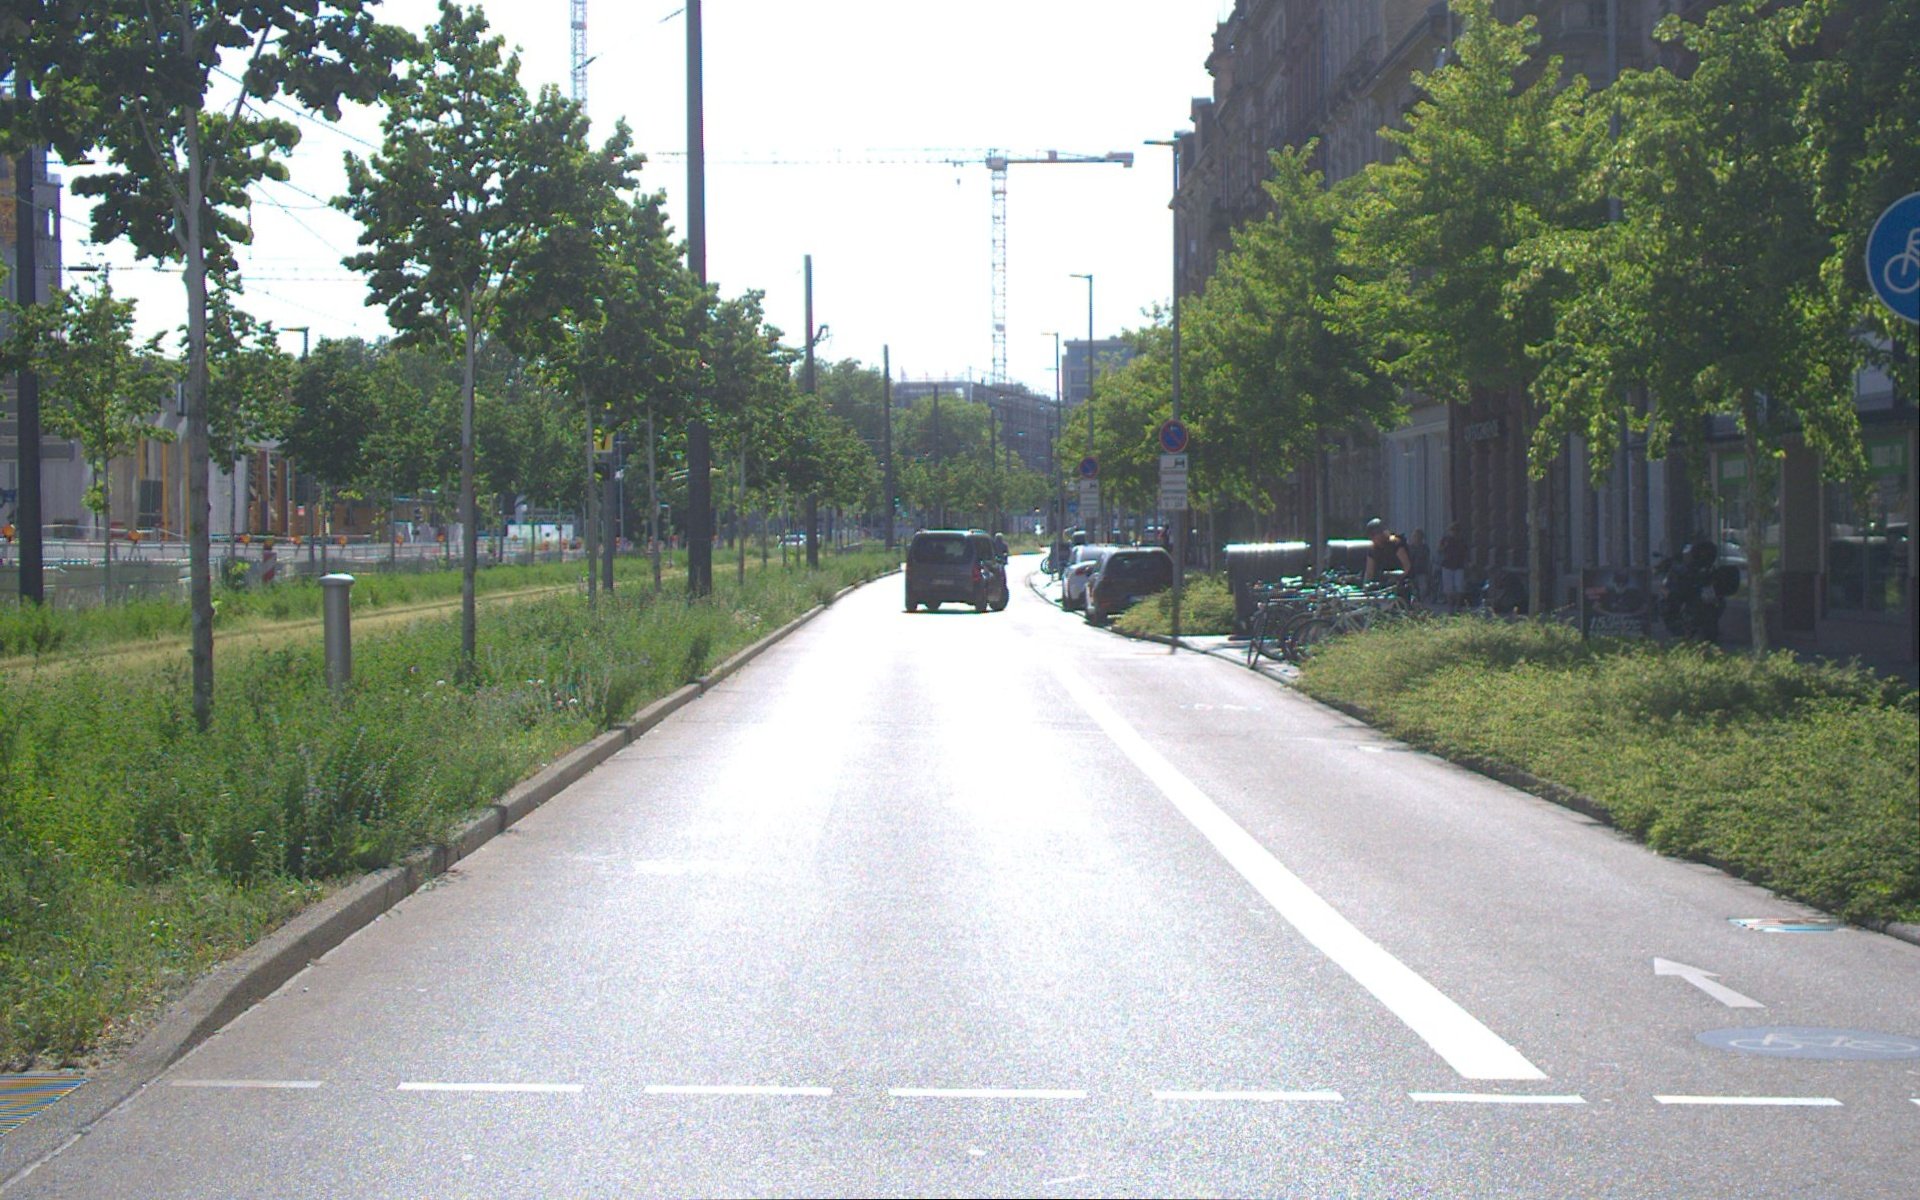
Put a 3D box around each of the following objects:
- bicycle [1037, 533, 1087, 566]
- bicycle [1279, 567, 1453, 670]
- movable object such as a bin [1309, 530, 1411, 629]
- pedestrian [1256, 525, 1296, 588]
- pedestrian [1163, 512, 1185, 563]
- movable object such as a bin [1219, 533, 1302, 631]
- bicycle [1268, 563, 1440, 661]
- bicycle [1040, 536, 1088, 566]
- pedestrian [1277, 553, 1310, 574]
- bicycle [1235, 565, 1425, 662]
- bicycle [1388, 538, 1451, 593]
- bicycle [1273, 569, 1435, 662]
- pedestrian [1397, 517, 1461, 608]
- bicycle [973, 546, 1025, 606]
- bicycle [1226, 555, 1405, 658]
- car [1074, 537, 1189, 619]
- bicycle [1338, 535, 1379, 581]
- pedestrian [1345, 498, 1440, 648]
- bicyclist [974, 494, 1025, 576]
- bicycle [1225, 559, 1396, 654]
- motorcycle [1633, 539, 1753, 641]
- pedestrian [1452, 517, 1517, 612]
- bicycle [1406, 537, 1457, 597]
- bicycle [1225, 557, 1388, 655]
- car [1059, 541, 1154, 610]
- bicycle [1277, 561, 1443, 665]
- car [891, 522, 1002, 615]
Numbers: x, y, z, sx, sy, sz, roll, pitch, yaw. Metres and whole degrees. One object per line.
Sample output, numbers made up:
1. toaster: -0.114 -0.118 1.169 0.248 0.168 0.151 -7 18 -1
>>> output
1. bicycle: 4.083 -2.031 137.633 1.878 1.229 0.500 -3 1 -5
2. bicycle: 4.674 0.208 39.629 1.891 1.105 0.518 -2 1 -5
3. movable object such as a bin: 6.370 -0.333 54.862 1.373 1.490 1.749 -3 0 1
4. pedestrian: 8.773 -1.204 95.551 0.996 1.725 0.866 1 0 0
5. pedestrian: 8.667 -2.512 139.243 0.817 2.007 1.046 1 -1 0
6. movable object such as a bin: 4.774 -0.298 54.689 1.271 1.458 1.644 1 3 4
7. bicycle: 4.746 0.143 41.445 1.977 1.104 0.435 -2 1 -3
8. bicycle: 4.209 -1.982 139.168 1.824 1.075 0.665 -3 1 -6
9. pedestrian: 9.780 -1.077 100.856 0.773 0.551 2.008 -1 2 0
10. bicycle: 4.588 0.157 42.611 2.284 1.098 0.486 -2 1 -14
11. bicycle: 9.734 -0.732 72.895 0.875 1.101 2.182 -3 1 -3
12. bicycle: 4.706 0.179 41.102 1.814 1.052 0.572 -2 1 -6
13. pedestrian: 8.271 -0.670 60.653 0.950 1.561 1.080 -1 2 -1
14. bicycle: 0.962 -0.616 86.579 1.210 1.459 4.000 1 1 -1
15. bicycle: 4.444 0.074 42.954 2.146 1.150 0.429 -4 1 -13
16. car: 3.337 -0.432 67.569 1.765 1.472 4.449 -3 1 -3
17. bicycle: 9.734 -1.044 84.062 0.721 1.086 2.198 -1 1 0
18. pedestrian: 5.206 -0.330 41.345 0.900 1.730 0.849 -3 1 16
19. bicyclist: 0.996 -1.631 86.580 1.210 2.008 1.642 1 0 -1
20. bicycle: 4.486 0.080 44.038 2.043 1.103 0.611 -3 1 -6
21. motorcycle: 9.440 -0.144 44.380 0.866 1.262 2.982 1 1 -1
22. pedestrian: 9.334 -0.638 61.228 0.971 1.633 0.992 -1 2 0
23. bicycle: 9.577 -0.670 69.830 0.748 1.197 1.801 -1 1 0
24. bicycle: 4.477 0.078 44.446 1.974 1.120 0.482 -4 2 -5
25. car: 3.381 -0.588 80.276 1.951 1.490 5.105 -2 1 0
26. bicycle: 4.650 0.146 39.982 1.866 1.175 0.374 -1 0 -3
27. car: -0.278 -0.714 77.184 1.994 2.007 3.999 1 1 7
